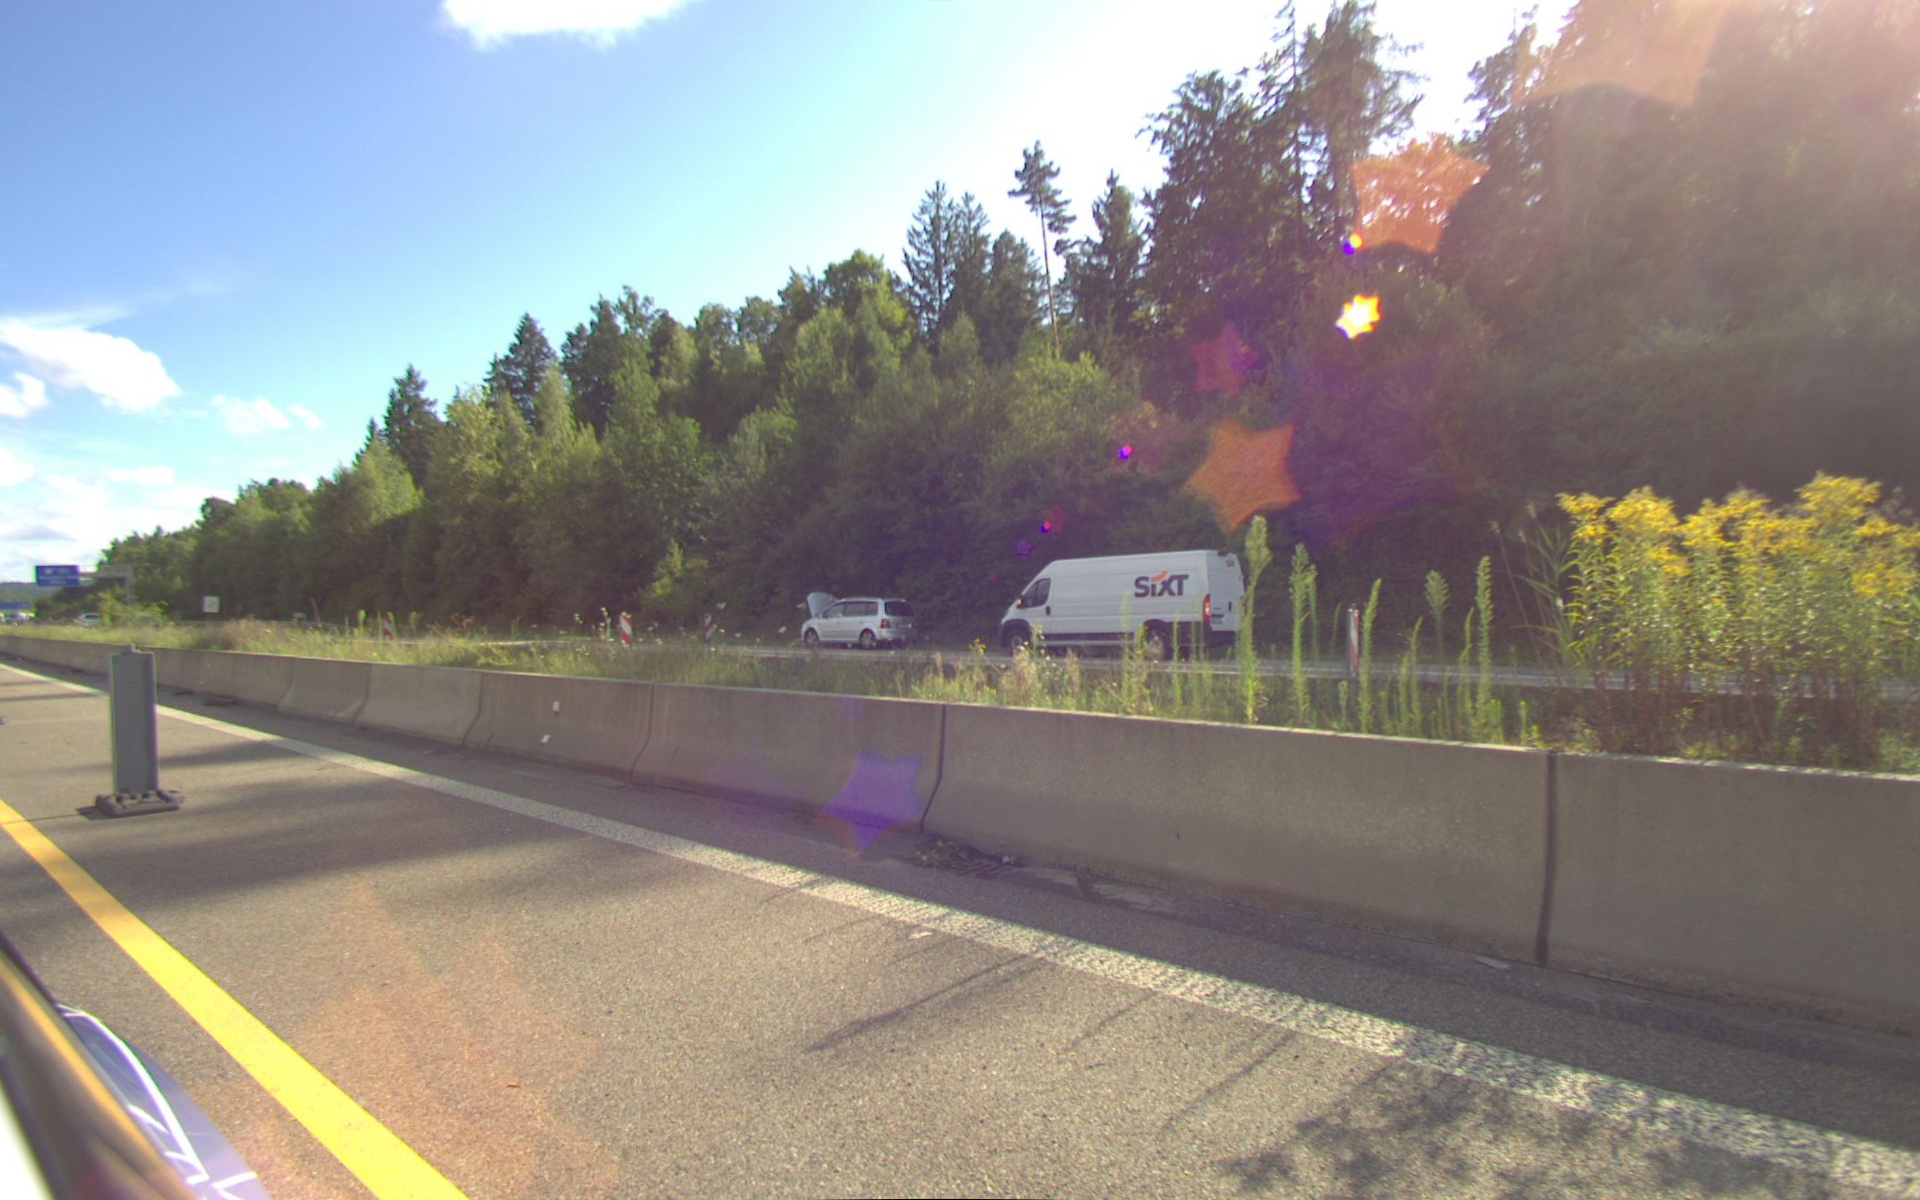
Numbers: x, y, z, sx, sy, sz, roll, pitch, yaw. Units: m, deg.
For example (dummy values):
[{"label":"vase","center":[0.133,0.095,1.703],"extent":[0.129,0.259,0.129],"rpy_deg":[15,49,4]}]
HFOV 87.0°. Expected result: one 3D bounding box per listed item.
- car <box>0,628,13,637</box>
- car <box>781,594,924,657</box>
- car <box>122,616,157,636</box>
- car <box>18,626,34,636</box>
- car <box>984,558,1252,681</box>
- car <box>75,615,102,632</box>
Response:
[{"label":"car","center":[-154.932,5.243,164.091],"extent":[4.103,1.467,1.759],"rpy_deg":[-1,0,42]},{"label":"car","center":[-3.495,0.770,32.377],"extent":[4.760,1.867,1.841],"rpy_deg":[-1,0,42]},{"label":"car","center":[-74.159,2.329,91.485],"extent":[4.364,1.799,1.759],"rpy_deg":[-1,0,42]},{"label":"car","center":[-171.400,5.703,185.716],"extent":[4.616,1.701,1.759],"rpy_deg":[-1,0,42]},{"label":"car","center":[3.724,0.448,25.129],"extent":[6.520,2.705,2.006],"rpy_deg":[-1,0,42]},{"label":"car","center":[-100.617,2.704,116.845],"extent":[4.364,1.799,1.759],"rpy_deg":[-1,0,42]}]
